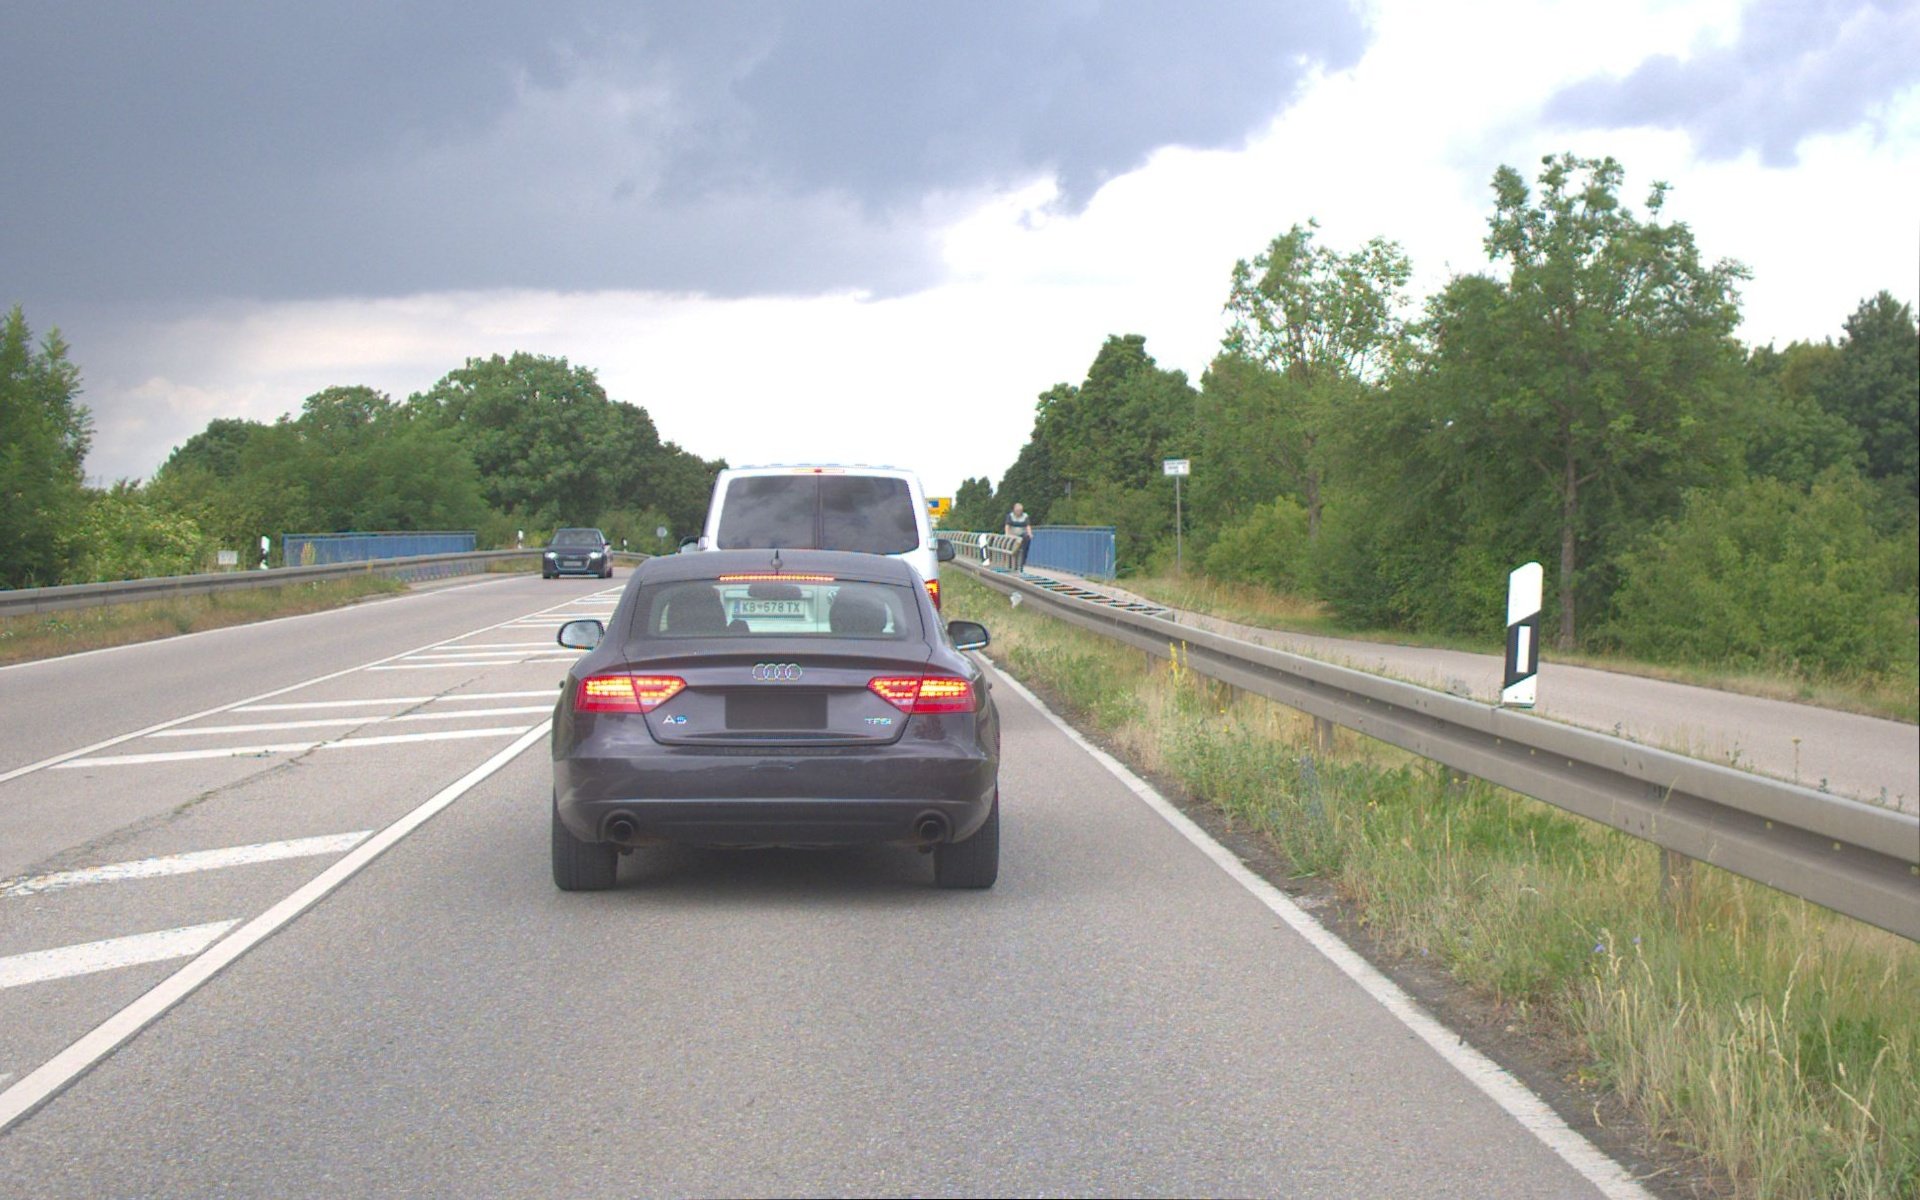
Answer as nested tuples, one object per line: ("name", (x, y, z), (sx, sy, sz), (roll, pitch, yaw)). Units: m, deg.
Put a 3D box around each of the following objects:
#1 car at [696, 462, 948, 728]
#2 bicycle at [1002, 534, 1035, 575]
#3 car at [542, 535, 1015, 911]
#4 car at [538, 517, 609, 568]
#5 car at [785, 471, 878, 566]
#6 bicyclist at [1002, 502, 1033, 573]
("car", (-1.057, -0.063, 26.494), (1.785, 1.883, 4.000), (0, 1, -2))
("bicycle", (1.347, -1.051, 79.392), (0.666, 0.917, 1.830), (-1, 1, -2))
("car", (-0.761, 0.443, 15.037), (1.785, 1.419, 4.000), (0, 1, -2))
("car", (-10.758, -1.623, 95.898), (1.862, 1.371, 4.001), (0, 1, -5))
("car", (-3.460, -2.231, 93.424), (2.447, 2.495, 5.042), (0, 1, -2))
("bicyclist", (1.333, -1.445, 79.452), (0.647, 1.639, 0.866), (-1, 1, -2))
